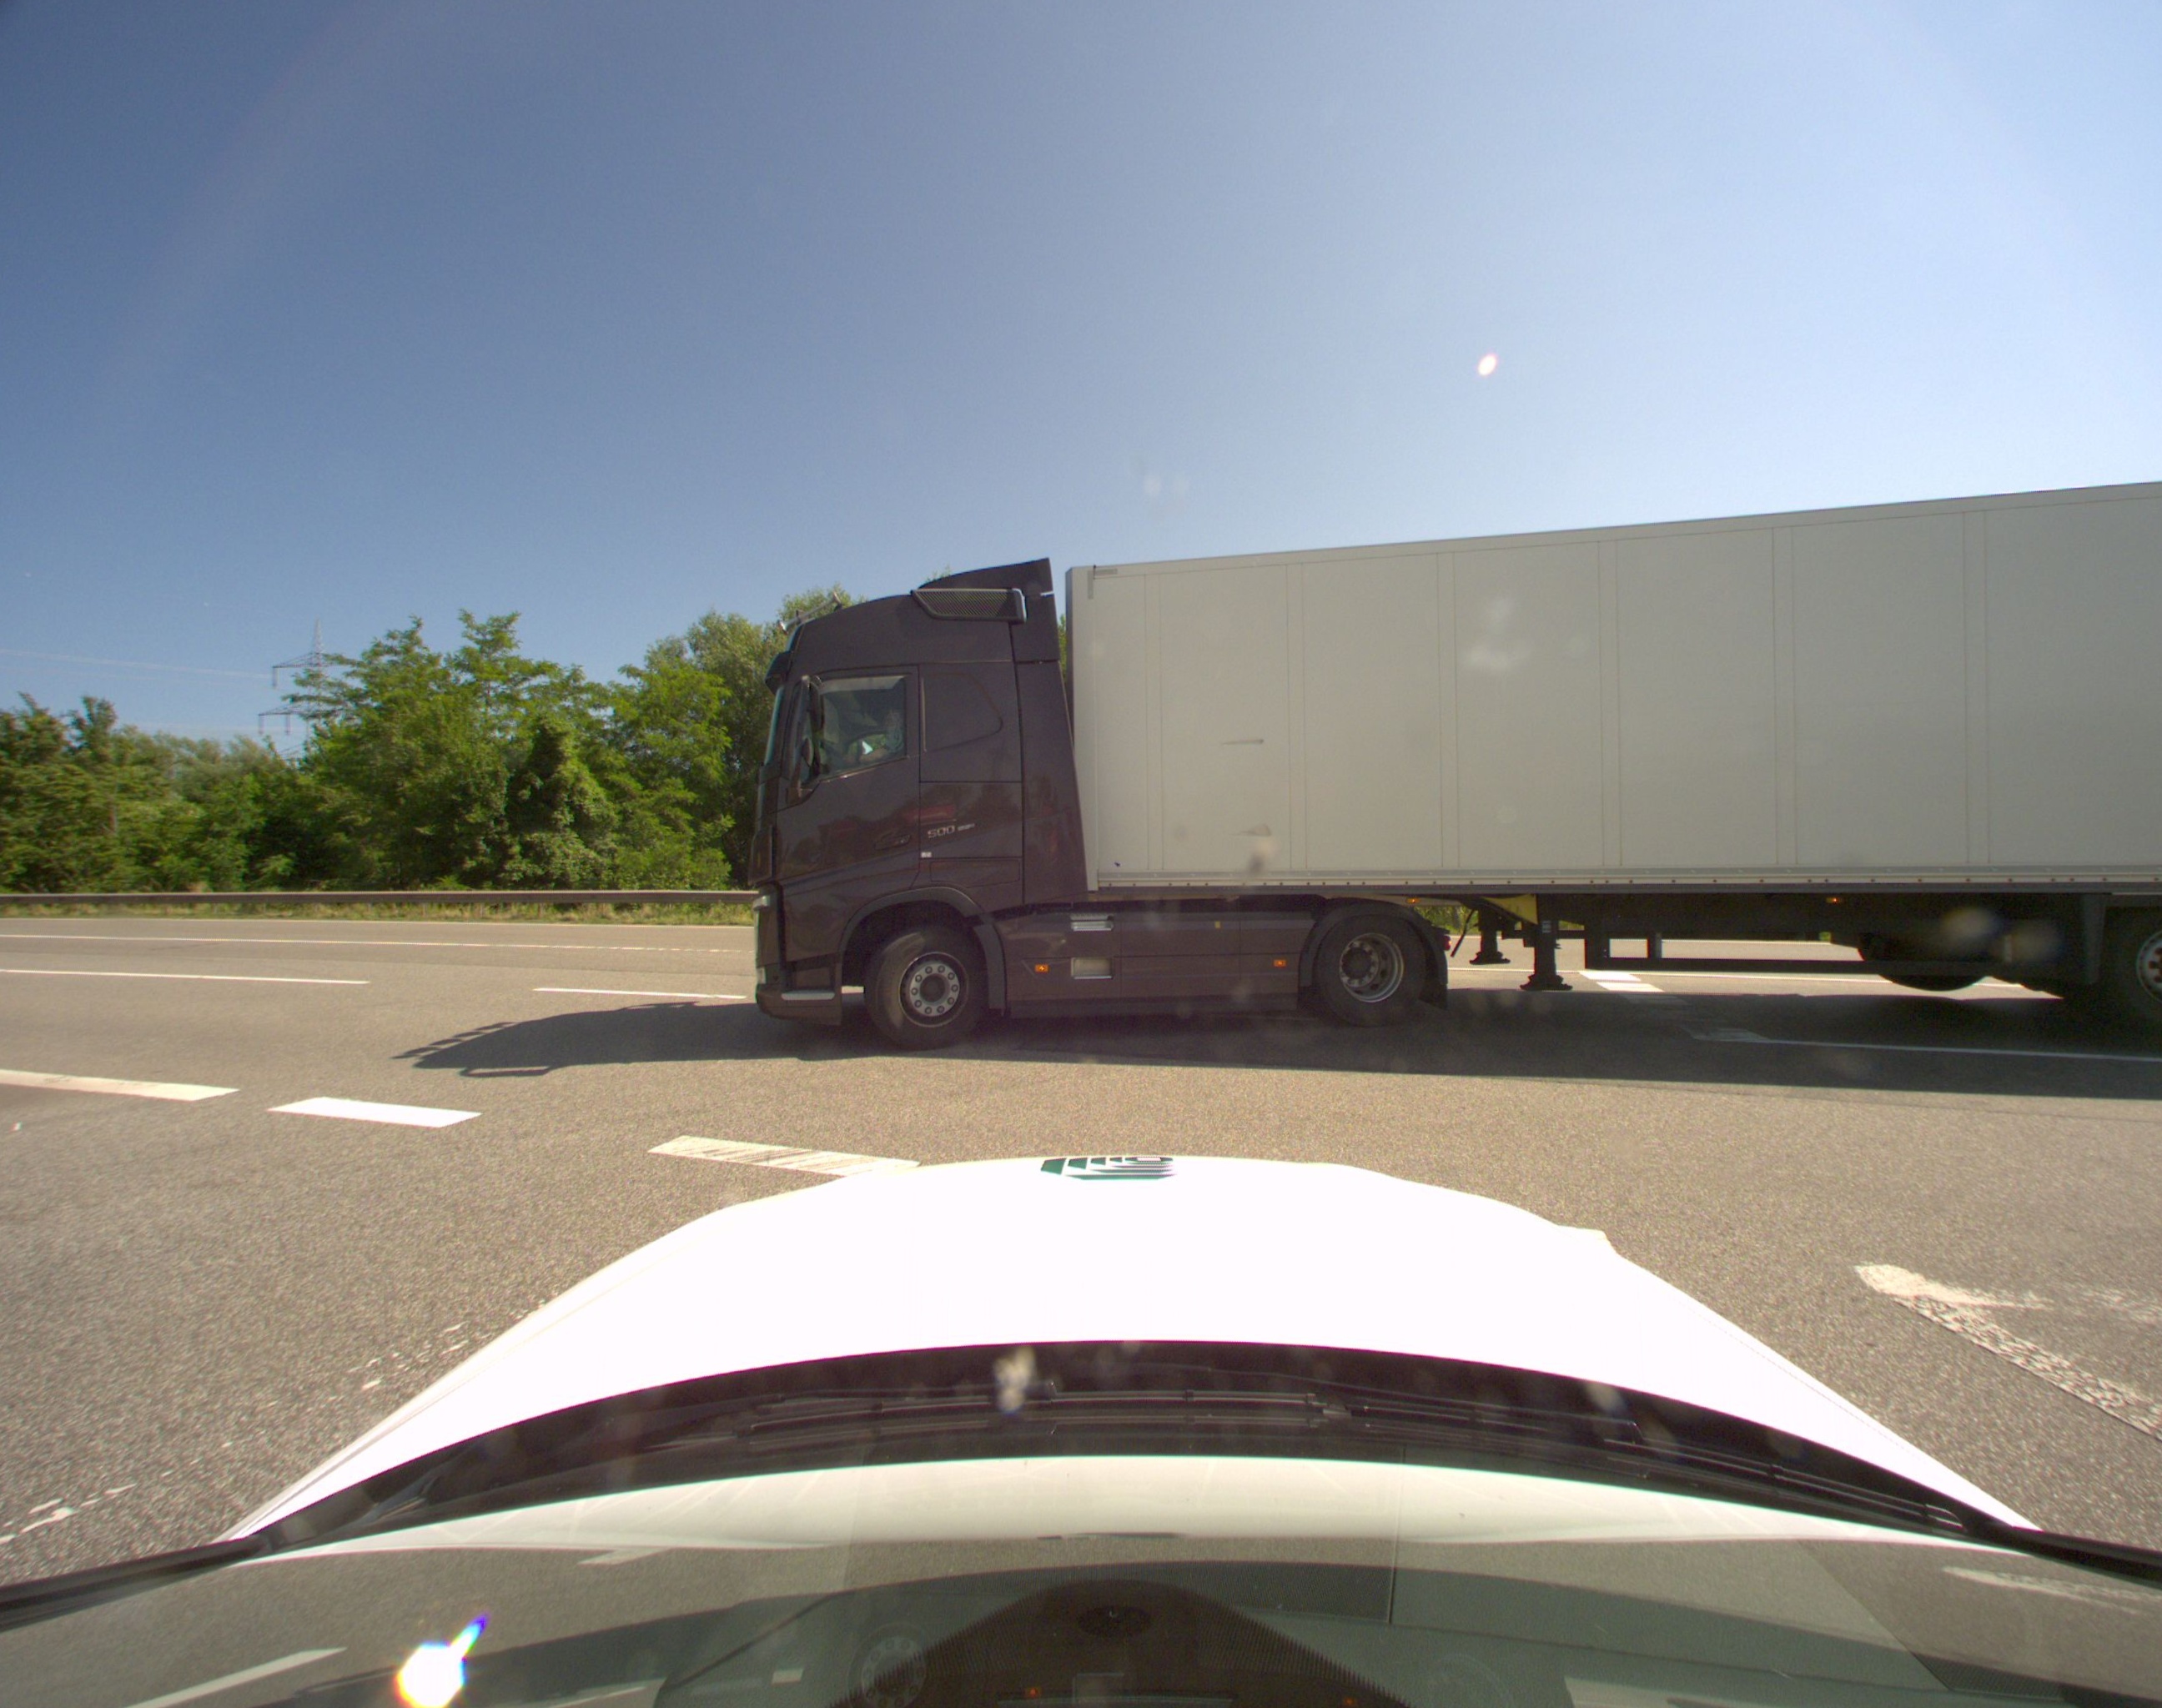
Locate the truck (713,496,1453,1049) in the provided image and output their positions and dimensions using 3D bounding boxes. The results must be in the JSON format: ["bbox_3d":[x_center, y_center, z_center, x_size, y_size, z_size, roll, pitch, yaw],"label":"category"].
[{"bbox_3d":[0.024,-0.642,7.957,5.946,4.173,2.873,0,0,-7],"label":"truck"}]

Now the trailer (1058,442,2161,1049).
[{"bbox_3d":[6.928,-0.744,7.167,13.845,4.165,2.905,-1,0,11],"label":"trailer"}]
